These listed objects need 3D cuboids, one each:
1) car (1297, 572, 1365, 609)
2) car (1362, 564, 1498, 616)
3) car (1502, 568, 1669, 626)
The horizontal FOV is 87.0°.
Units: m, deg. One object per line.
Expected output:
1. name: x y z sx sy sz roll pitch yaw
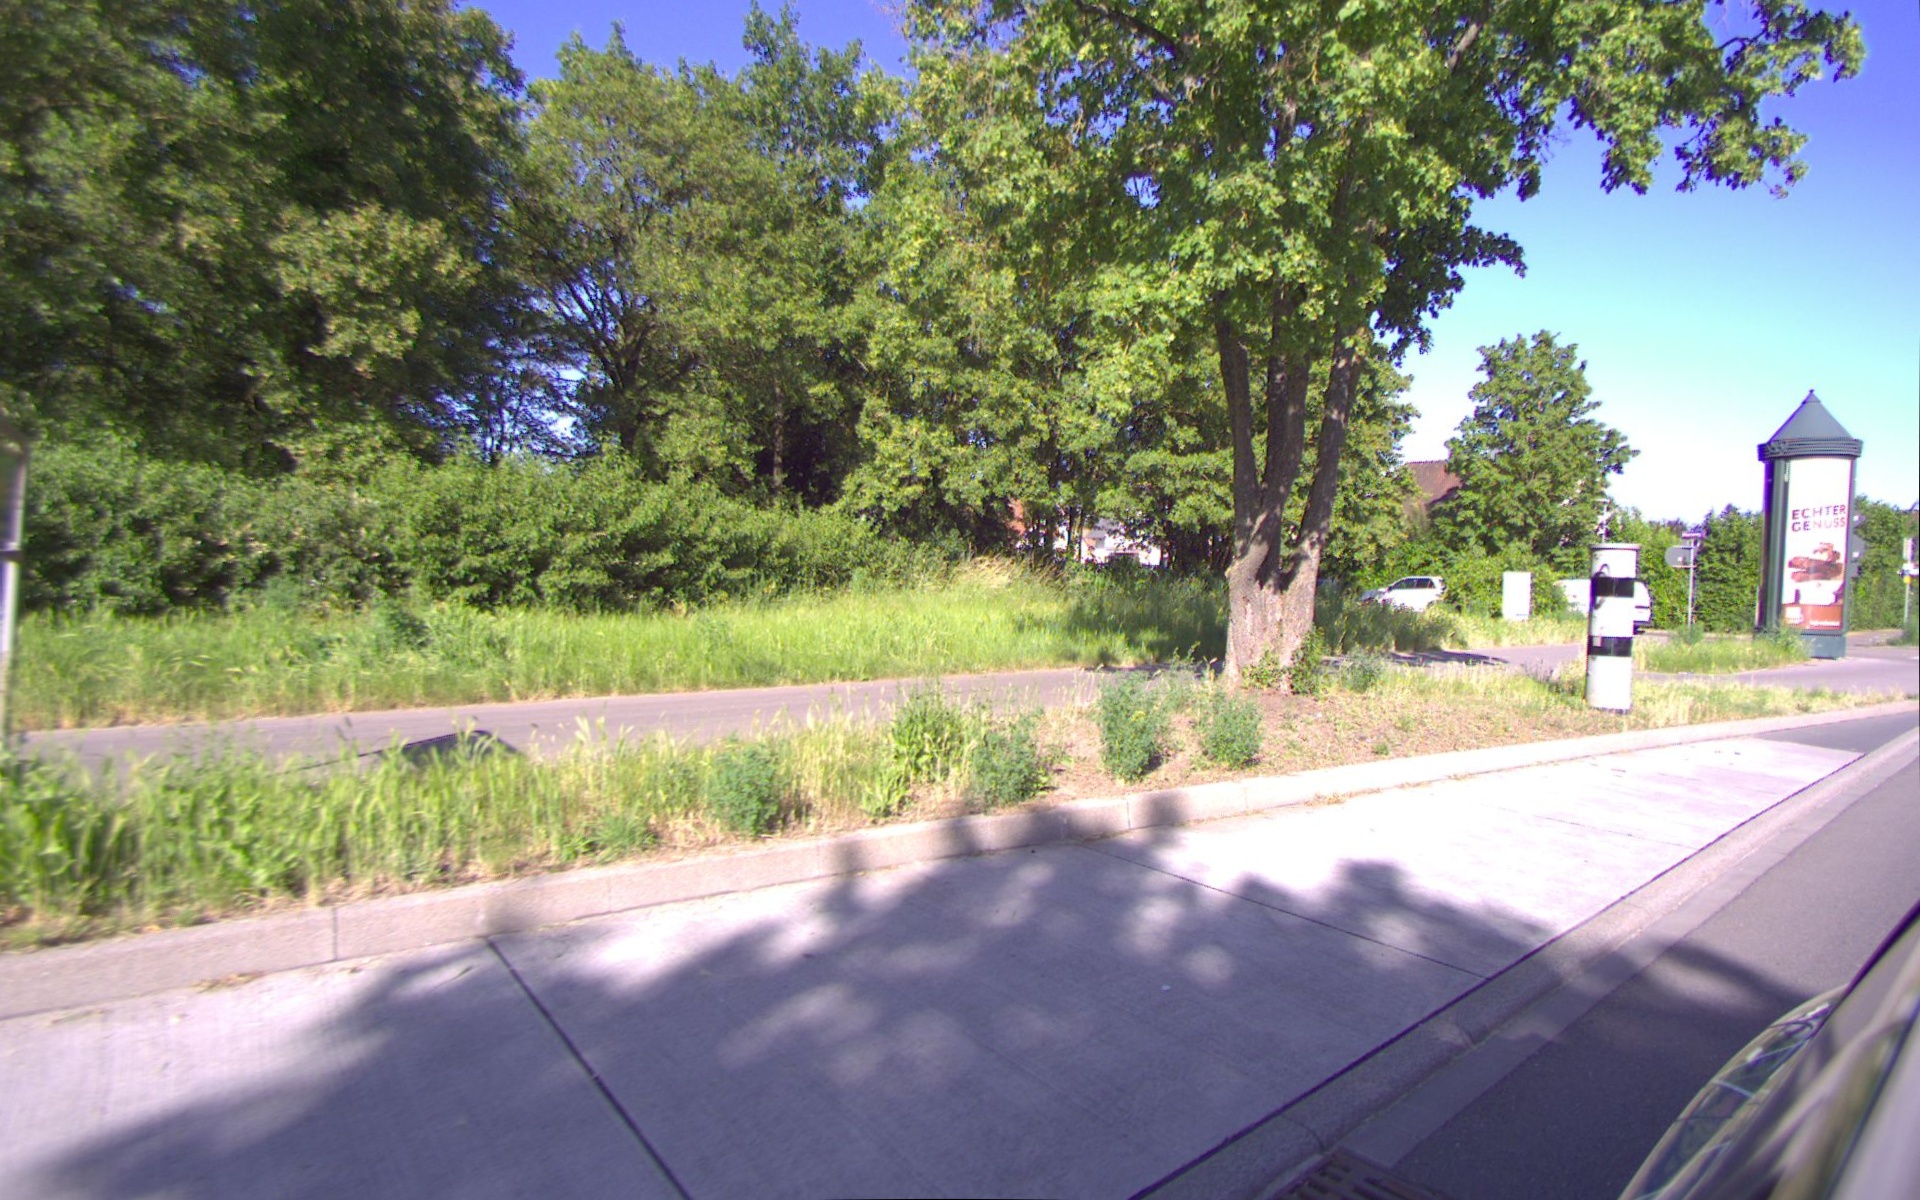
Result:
1. car: 16.472 -0.440 44.950 1.510 1.508 2.355 2 1 -34
2. car: 18.855 -0.425 40.825 2.031 1.892 4.534 2 1 -34
3. car: 22.194 -0.142 36.098 1.895 1.824 4.648 2 1 -34
